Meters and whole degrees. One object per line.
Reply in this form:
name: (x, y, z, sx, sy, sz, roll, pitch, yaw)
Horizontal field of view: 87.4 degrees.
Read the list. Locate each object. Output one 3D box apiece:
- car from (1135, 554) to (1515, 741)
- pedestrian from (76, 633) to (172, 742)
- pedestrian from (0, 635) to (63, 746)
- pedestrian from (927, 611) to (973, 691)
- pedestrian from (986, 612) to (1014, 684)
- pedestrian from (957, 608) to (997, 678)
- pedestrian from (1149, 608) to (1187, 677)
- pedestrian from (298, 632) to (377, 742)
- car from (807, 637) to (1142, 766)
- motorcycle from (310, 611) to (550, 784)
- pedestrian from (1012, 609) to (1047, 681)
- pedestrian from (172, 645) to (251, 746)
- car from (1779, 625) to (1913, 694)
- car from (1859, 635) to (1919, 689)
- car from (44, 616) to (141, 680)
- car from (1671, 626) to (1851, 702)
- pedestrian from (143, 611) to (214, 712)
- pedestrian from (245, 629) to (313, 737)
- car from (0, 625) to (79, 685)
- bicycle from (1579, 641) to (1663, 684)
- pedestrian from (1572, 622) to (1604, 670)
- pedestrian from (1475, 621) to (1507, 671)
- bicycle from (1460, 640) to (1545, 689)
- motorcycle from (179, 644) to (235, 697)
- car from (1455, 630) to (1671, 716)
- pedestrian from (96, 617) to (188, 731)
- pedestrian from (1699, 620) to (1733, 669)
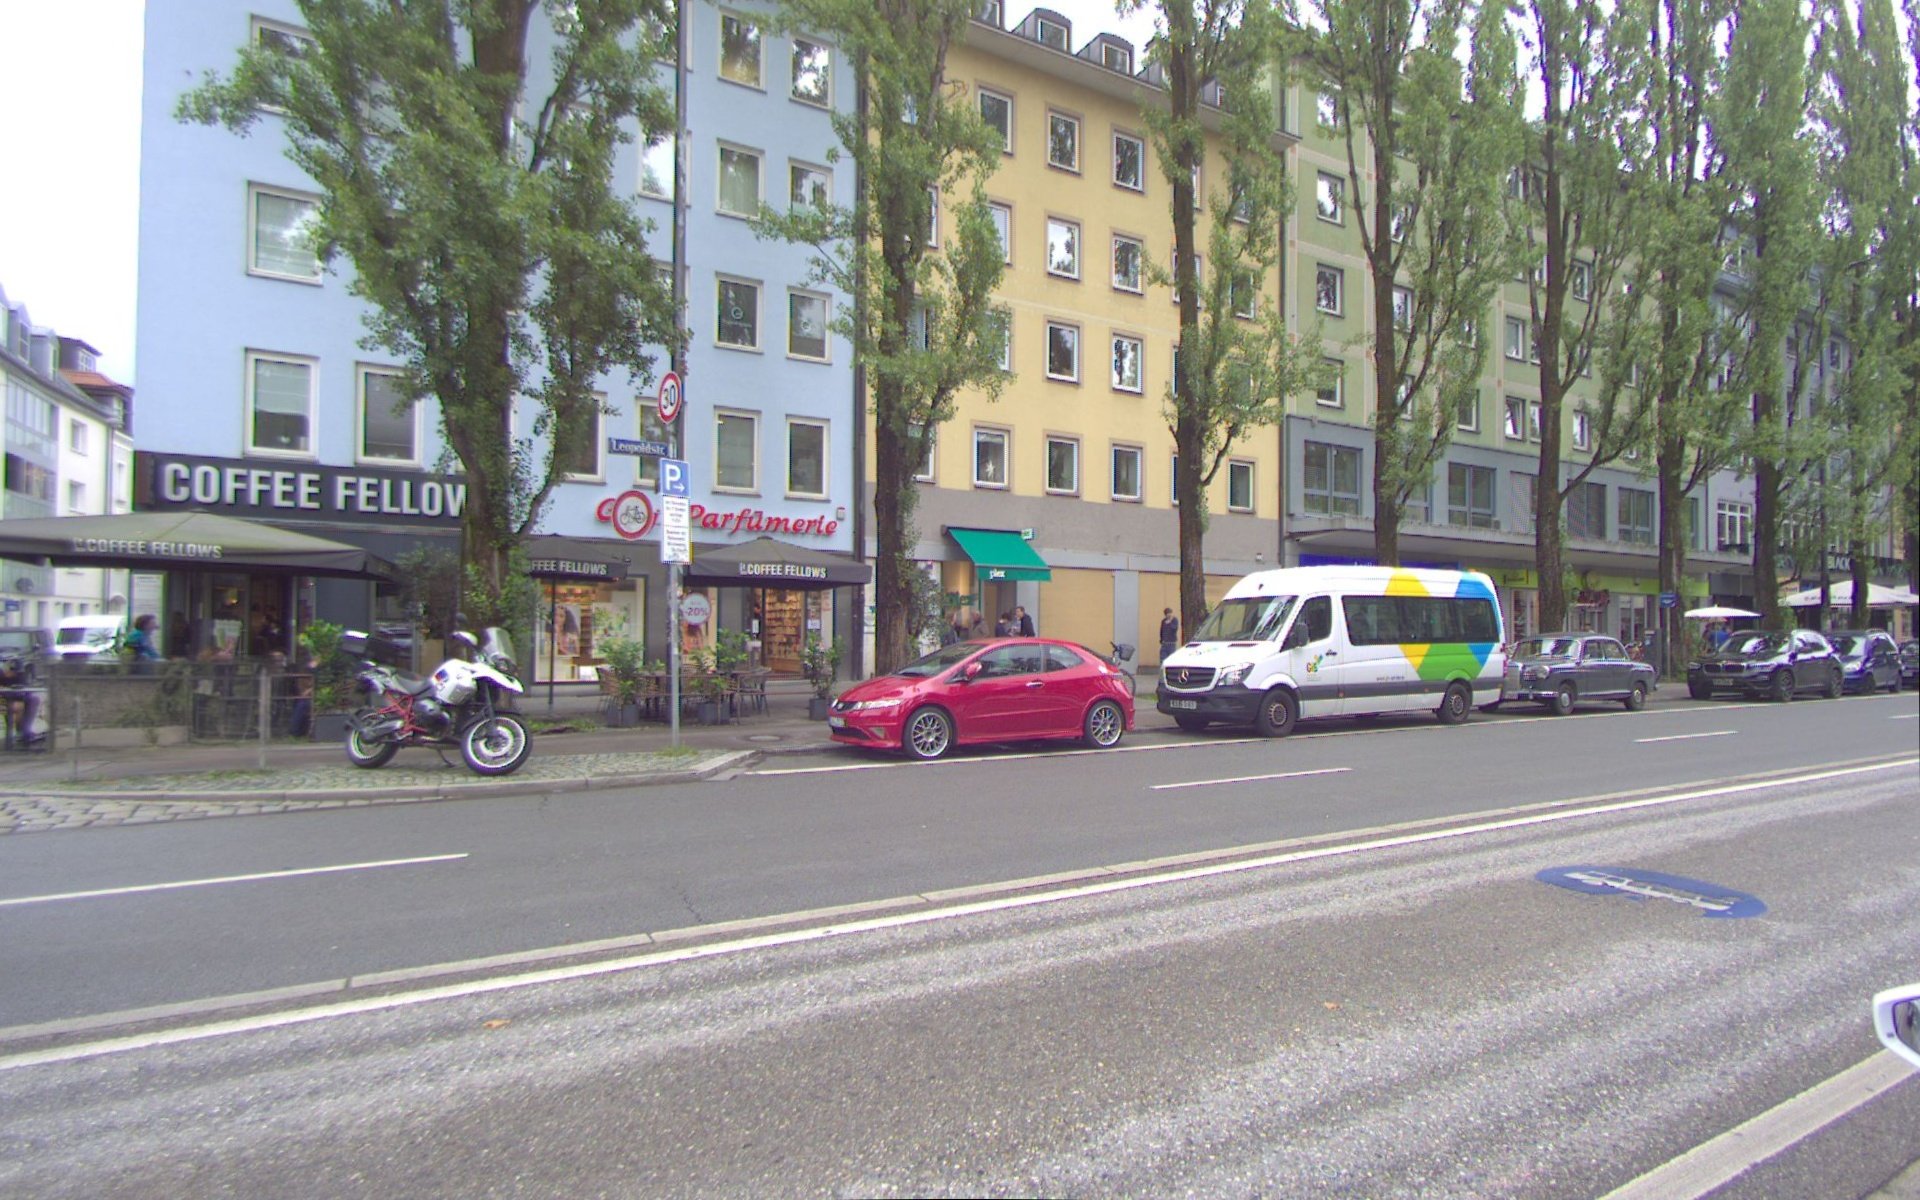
car: (6.178, 0.765, 16.575, 6.831, 2.601, 1.996, 1, -3, -31)
pedestrian: (-10.973, 1.122, 13.210, 0.808, 1.380, 0.695, 1, -2, -27)
pedestrian: (-12.167, 1.136, 12.785, 0.938, 1.380, 0.695, 1, -2, -27)
pedestrian: (-0.221, 1.113, 22.035, 0.775, 1.708, 0.753, 1, -2, -27)
pedestrian: (0.935, 1.121, 23.641, 0.553, 1.657, 0.699, 0, -1, -6)
pedestrian: (0.414, 1.043, 24.300, 0.718, 1.657, 0.695, 1, -2, -28)
pedestrian: (5.624, 1.147, 27.173, 0.717, 1.818, 0.695, 1, -2, -25)
pedestrian: (-8.096, 1.102, 13.091, 0.838, 1.380, 0.694, 1, -2, -31)
car: (0.231, 1.221, 13.119, 4.100, 1.438, 1.729, 1, -3, -30)
motorcycle: (-5.329, 0.920, 10.094, 2.301, 1.584, 0.715, 1, 0, 18)
pedestrian: (1.614, 1.040, 23.475, 0.713, 1.657, 0.699, 0, -1, -6)
pedestrian: (-9.378, 1.172, 12.616, 0.692, 1.198, 0.811, 1, -2, -31)
car: (23.883, 1.578, 27.058, 3.880, 1.743, 1.700, 1, -3, -33)
car: (28.748, 1.812, 29.844, 4.299, 1.508, 1.790, 1, -3, -30)
car: (-34.565, 1.923, 40.166, 1.959, 2.396, 4.554, 1, -3, -29)
car: (19.340, 1.494, 24.211, 4.557, 1.686, 1.858, 1, -3, -30)
pedestrian: (-14.288, 1.106, 18.367, 0.933, 1.796, 0.699, -1, -2, 30)
pedestrian: (-9.057, 1.084, 13.380, 0.692, 1.380, 0.709, 1, -2, -32)
car: (-29.813, 1.740, 31.739, 2.093, 1.789, 4.551, 1, -3, -30)
bicycle: (19.516, 1.820, 29.702, 0.712, 1.110, 1.933, 1, 1, -36)
pedestrian: (22.510, 1.638, 36.014, 0.667, 1.708, 0.753, 2, -2, -29)
pedestrian: (18.380, 1.587, 34.763, 0.749, 1.708, 0.670, 2, -2, -29)
bicycle: (14.230, 1.672, 26.403, 0.710, 1.110, 1.862, 1, 1, -27)
motorcycle: (-19.056, 1.743, 25.475, 0.729, 1.219, 2.748, -1, -1, -28)
car: (12.169, 1.408, 20.217, 4.362, 1.572, 1.858, 1, -3, -30)
pedestrian: (-12.361, 1.097, 15.207, 0.939, 1.668, 0.695, 1, -2, -29)
pedestrian: (26.918, 1.574, 35.765, 0.667, 1.708, 0.753, 2, -2, -29)
